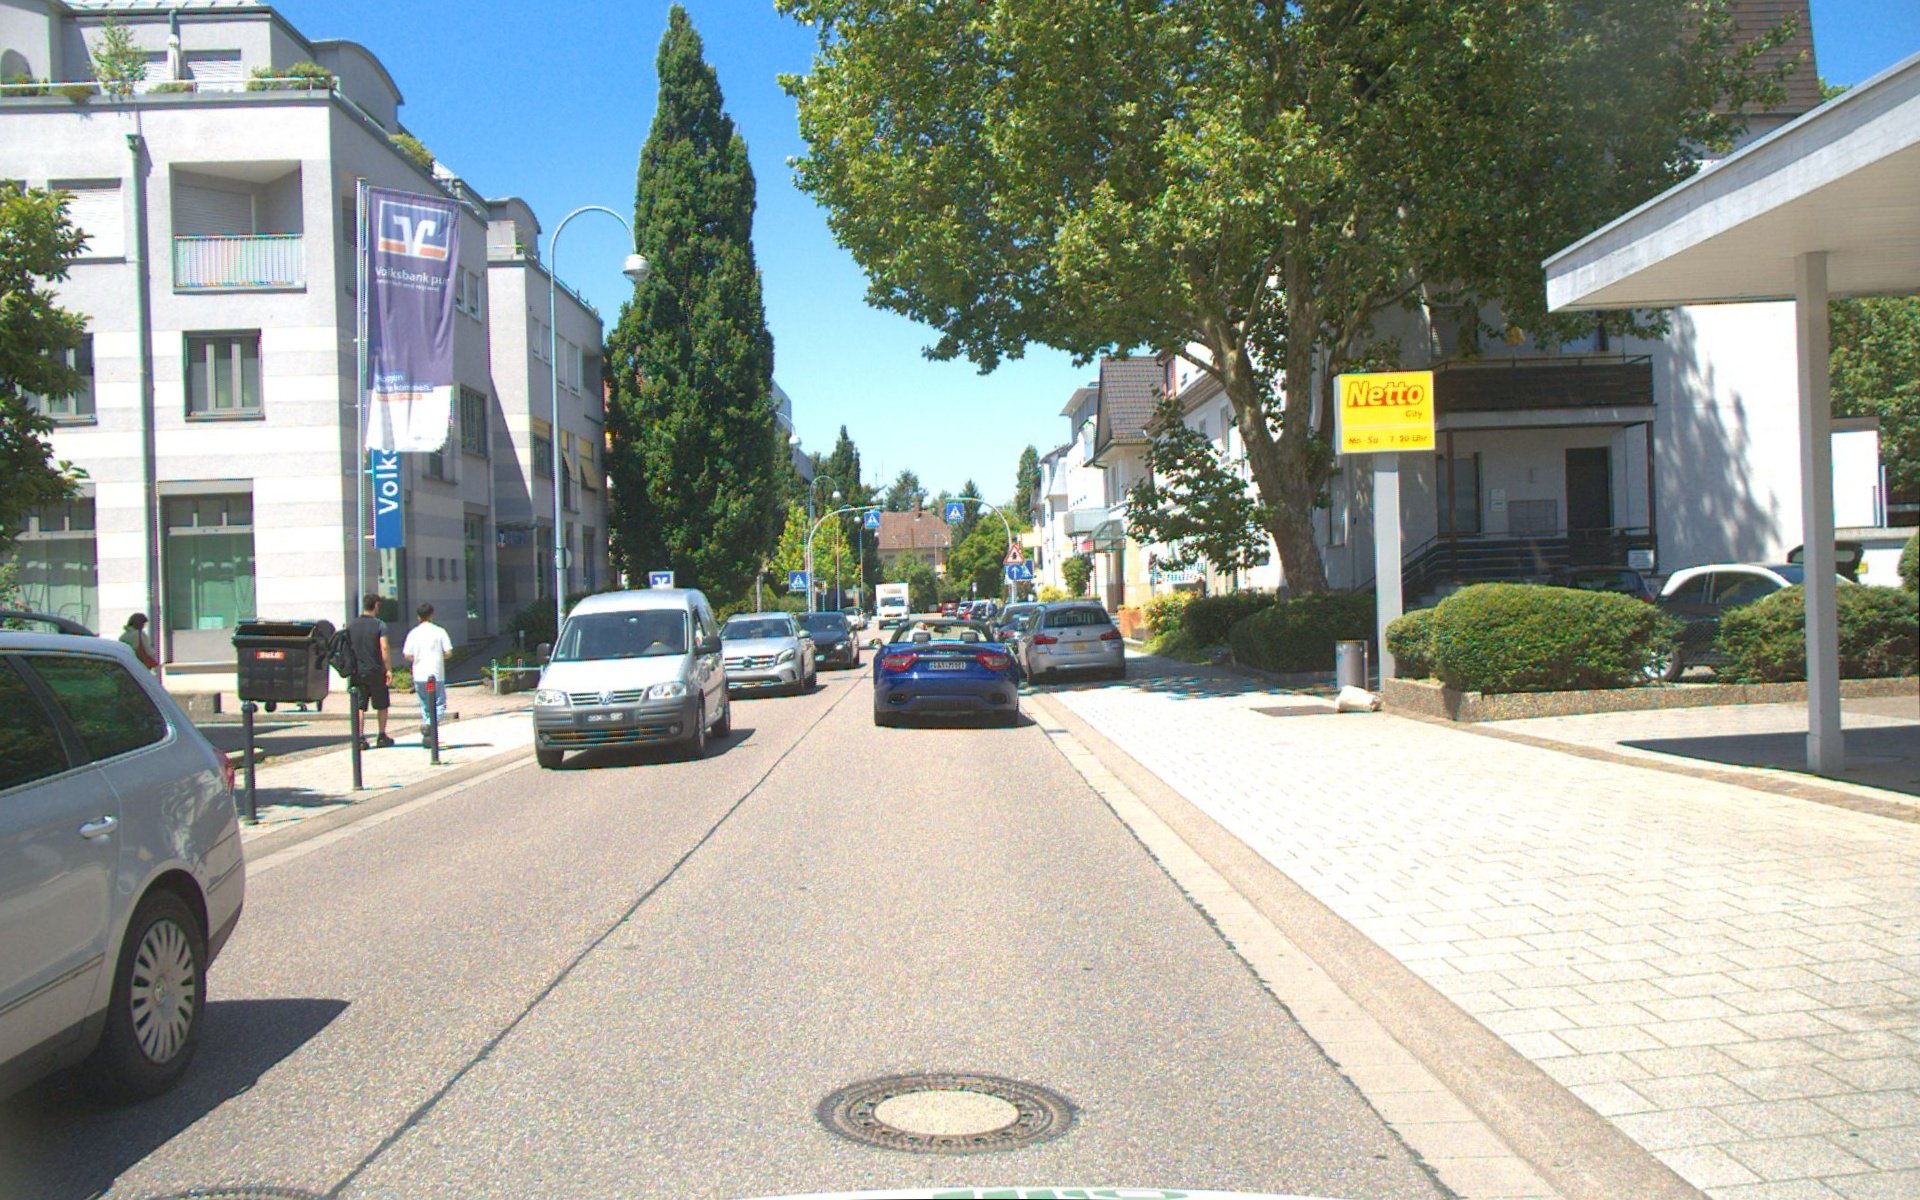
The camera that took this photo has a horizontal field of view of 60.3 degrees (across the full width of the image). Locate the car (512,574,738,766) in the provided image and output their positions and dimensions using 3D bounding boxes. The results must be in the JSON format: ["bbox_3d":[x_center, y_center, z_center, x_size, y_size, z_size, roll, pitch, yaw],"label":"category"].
[{"bbox_3d":[-3.602,0.676,18.482,1.734,1.798,4.136,-3,0,-2],"label":"car"}]

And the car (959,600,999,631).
[{"bbox_3d":[1.004,0.802,88.910,1.911,1.502,4.136,-3,0,-2],"label":"car"}]

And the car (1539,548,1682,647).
[{"bbox_3d":[11.419,-0.060,29.294,1.805,1.478,4.003,-5,-1,15],"label":"car"}]

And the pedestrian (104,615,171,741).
[{"bbox_3d":[-11.012,1.032,22.151,0.668,1.652,0.712,0,-2,-17],"label":"pedestrian"}]

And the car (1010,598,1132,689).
[{"bbox_3d":[2.068,0.782,31.983,1.936,1.475,4.348,-4,1,-1],"label":"car"}]

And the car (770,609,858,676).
[{"bbox_3d":[-3.664,1.042,42.171,1.911,1.502,4.136,-3,0,-2],"label":"car"}]

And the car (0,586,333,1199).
[{"bbox_3d":[-3.334,0.775,3.892,1.910,1.535,4.795,-2,0,-1],"label":"car"}]

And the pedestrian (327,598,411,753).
[{"bbox_3d":[-7.026,0.889,19.643,0.874,1.780,0.811,1,-3,-25],"label":"pedestrian"}]

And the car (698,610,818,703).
[{"bbox_3d":[-3.679,0.993,30.763,1.734,1.502,4.136,-3,0,-1],"label":"car"}]

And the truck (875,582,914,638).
[{"bbox_3d":[-4.470,0.660,111.831,2.373,3.542,6.999,-3,0,-3],"label":"truck"}]

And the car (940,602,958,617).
[{"bbox_3d":[-1.179,1.027,172.209,1.734,1.502,4.136,-2,-1,-1],"label":"car"}]

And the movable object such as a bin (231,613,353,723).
[{"bbox_3d":[-10.289,1.028,25.536,1.330,1.520,1.296,-3,2,-5],"label":"movable object such as a bin"}]

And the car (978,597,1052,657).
[{"bbox_3d":[1.626,0.782,50.394,1.936,1.583,4.348,-4,1,-1],"label":"car"}]

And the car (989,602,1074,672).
[{"bbox_3d":[1.847,0.949,44.224,1.936,1.583,4.348,-4,1,-1],"label":"car"}]

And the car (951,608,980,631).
[{"bbox_3d":[0.375,1.365,117.154,1.911,1.502,4.136,-3,0,-2],"label":"car"}]

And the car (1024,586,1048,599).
[{"bbox_3d":[10.028,-1.021,218.281,1.910,1.502,4.139,-4,0,19],"label":"car"}]

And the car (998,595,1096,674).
[{"bbox_3d":[1.980,0.750,38.872,1.936,1.583,4.348,-4,1,-1],"label":"car"}]

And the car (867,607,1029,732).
[{"bbox_3d":[-0.239,0.845,22.322,1.936,1.422,4.625,-1,0,-2],"label":"car"}]

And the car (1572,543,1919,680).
[{"bbox_3d":[10.114,0.198,21.208,1.824,1.478,3.962,-4,-1,-28],"label":"car"}]

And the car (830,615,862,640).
[{"bbox_3d":[-7.509,1.789,109.126,1.912,1.502,4.135,-3,0,-3],"label":"car"}]

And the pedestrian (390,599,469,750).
[{"bbox_3d":[-6.224,0.869,19.433,0.618,1.720,0.961,0,-2,-1],"label":"pedestrian"}]

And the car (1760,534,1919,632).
[{"bbox_3d":[15.501,-0.299,29.021,1.805,1.478,4.003,-5,-1,15],"label":"car"}]

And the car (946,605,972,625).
[{"bbox_3d":[-0.077,1.202,133.923,1.911,1.502,4.136,-3,0,-2],"label":"car"}]
